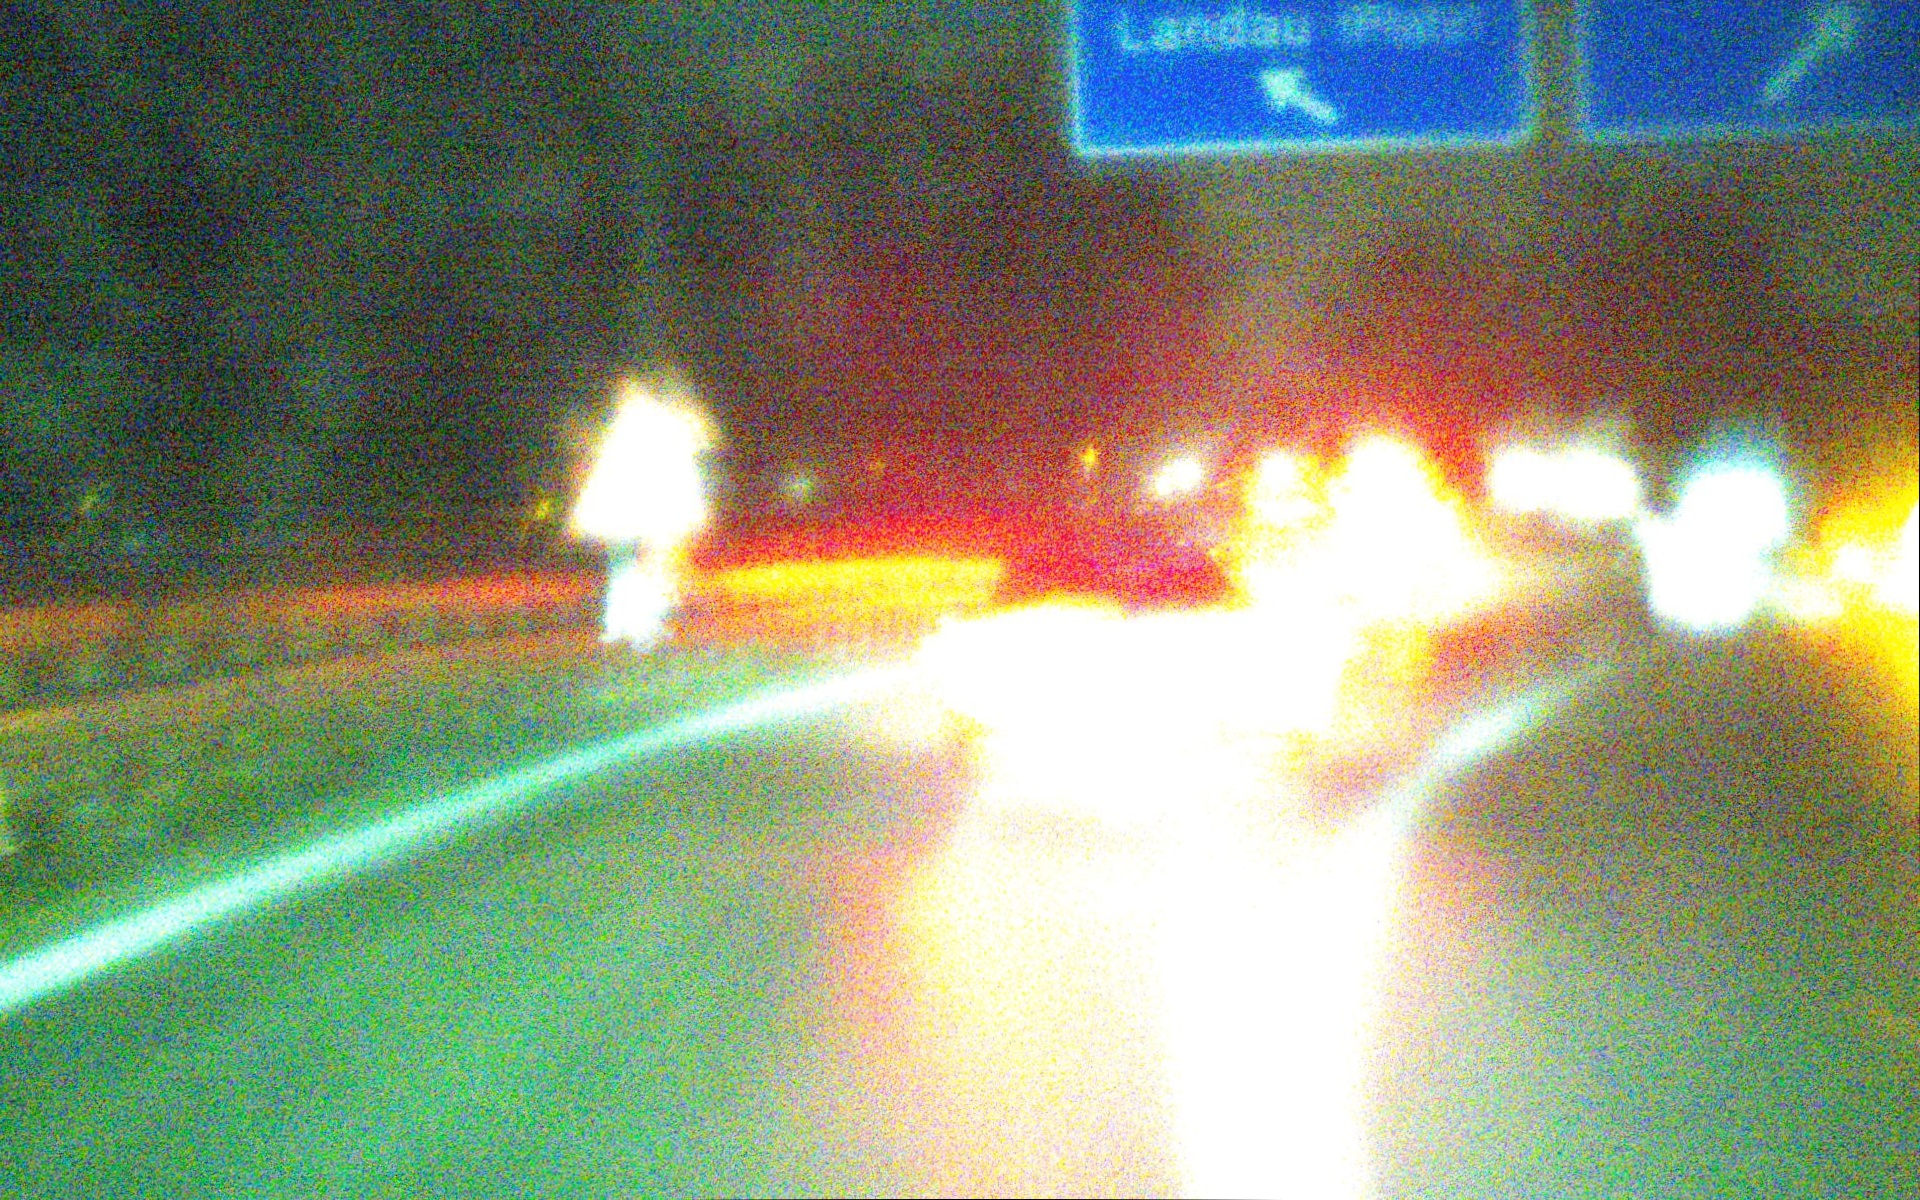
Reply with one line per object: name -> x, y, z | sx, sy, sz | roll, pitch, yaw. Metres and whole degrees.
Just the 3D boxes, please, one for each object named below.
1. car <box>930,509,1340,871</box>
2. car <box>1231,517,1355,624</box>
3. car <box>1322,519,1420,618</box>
car -> 0.847, 0.368, 17.878 | 1.860, 1.641, 4.069 | 1, 1, 1
car -> 5.574, -0.463, 57.192 | 1.896, 1.715, 4.044 | 0, 0, 8
car -> 8.716, -0.647, 72.678 | 1.896, 2.033, 4.044 | 0, 0, 9
